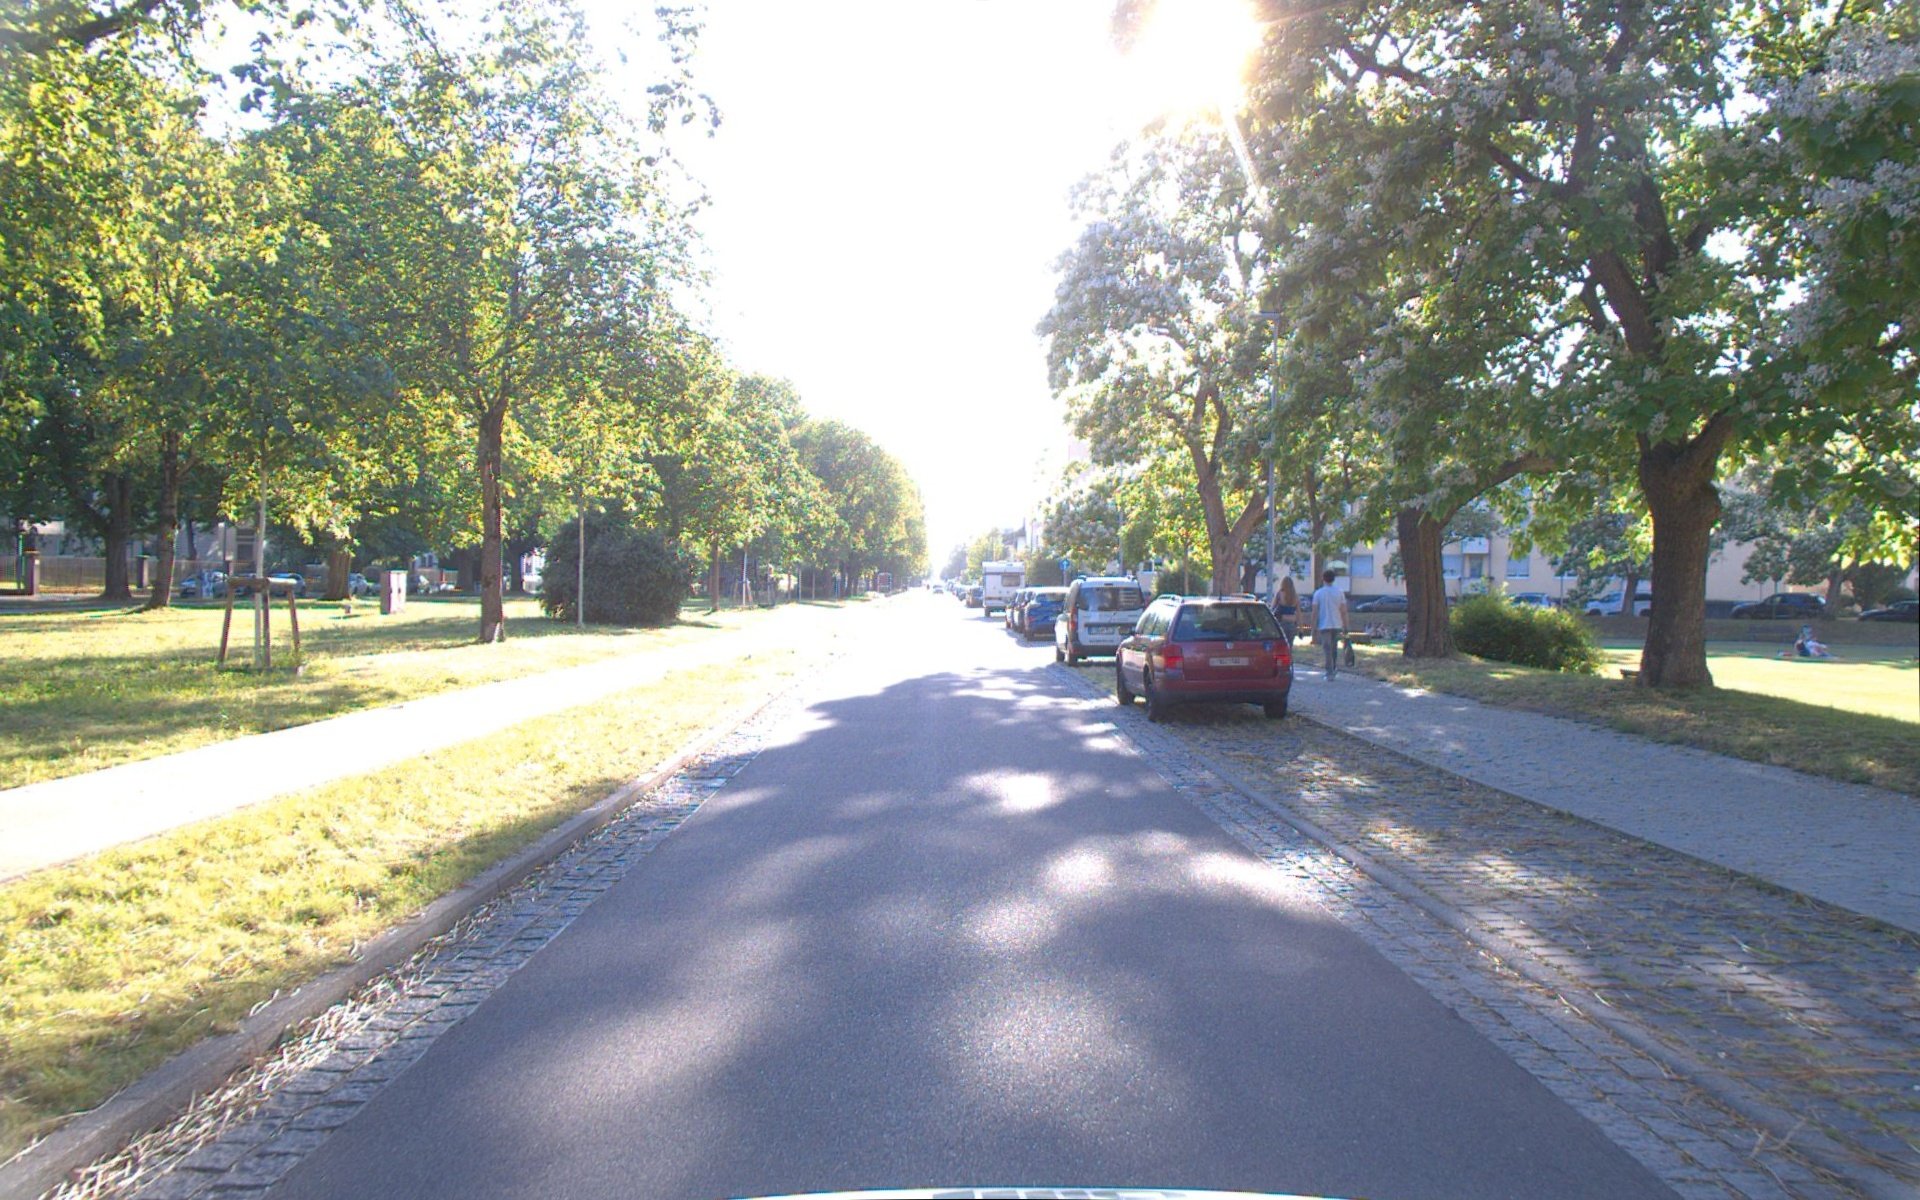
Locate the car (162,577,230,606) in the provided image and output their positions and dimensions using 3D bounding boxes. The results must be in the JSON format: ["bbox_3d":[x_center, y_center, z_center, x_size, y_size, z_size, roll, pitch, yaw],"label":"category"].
[{"bbox_3d":[-42.662,-0.461,92.454,1.953,1.534,4.000,0,0,0],"label":"car"}]

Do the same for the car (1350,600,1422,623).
[{"bbox_3d":[26.061,0.710,101.216,4.108,1.381,1.693,0,0,20],"label":"car"}]

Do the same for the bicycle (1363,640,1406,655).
[{"bbox_3d":[20.059,2.225,78.153,1.730,0.625,1.811,1,0,23],"label":"bicycle"}]

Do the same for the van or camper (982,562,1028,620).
[{"bbox_3d":[2.356,-0.428,88.190,2.189,2.955,5.671,0,-1,-1],"label":"van or camper"}]

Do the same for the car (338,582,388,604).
[{"bbox_3d":[-41.621,-0.478,115.380,1.953,1.534,4.115,0,0,0],"label":"car"}]

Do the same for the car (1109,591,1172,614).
[{"bbox_3d":[12.020,0.166,110.345,4.107,1.557,2.001,0,0,3],"label":"car"}]

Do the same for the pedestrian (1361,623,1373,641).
[{"bbox_3d":[19.746,1.562,80.242,0.463,0.827,0.612,2,0,0],"label":"pedestrian"}]

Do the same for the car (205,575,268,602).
[{"bbox_3d":[-42.568,-0.662,97.420,1.953,1.534,4.000,0,0,0],"label":"car"}]

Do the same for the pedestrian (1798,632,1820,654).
[{"bbox_3d":[32.299,1.629,62.920,0.662,0.808,0.578,1,0,-44],"label":"pedestrian"}]

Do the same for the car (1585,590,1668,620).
[{"bbox_3d":[40.546,0.282,100.621,4.433,1.776,1.874,0,0,34],"label":"car"}]

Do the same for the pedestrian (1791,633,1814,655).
[{"bbox_3d":[31.744,1.646,62.327,0.662,0.808,0.578,1,0,-44],"label":"pedestrian"}]

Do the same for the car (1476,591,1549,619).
[{"bbox_3d":[32.769,0.293,98.091,3.909,1.579,1.609,0,0,27],"label":"car"}]

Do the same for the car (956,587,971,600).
[{"bbox_3d":[0.416,-0.772,194.447,1.593,1.434,4.248,0,0,-1],"label":"car"}]

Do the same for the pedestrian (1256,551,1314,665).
[{"bbox_3d":[5.157,0.124,26.309,0.738,1.766,0.731,1,0,0],"label":"pedestrian"}]

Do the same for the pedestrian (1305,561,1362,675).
[{"bbox_3d":[5.939,0.275,26.335,0.710,1.766,0.731,1,0,0],"label":"pedestrian"}]

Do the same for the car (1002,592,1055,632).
[{"bbox_3d":[2.596,0.445,63.601,1.594,1.490,4.246,0,0,-4],"label":"car"}]

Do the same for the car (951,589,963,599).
[{"bbox_3d":[-0.409,-0.834,230.848,1.593,1.434,4.248,0,0,-1],"label":"car"}]

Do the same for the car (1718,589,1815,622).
[{"bbox_3d":[44.011,0.276,90.298,4.447,1.776,1.868,0,0,43],"label":"car"}]

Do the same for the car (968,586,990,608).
[{"bbox_3d":[1.452,-0.215,129.595,1.593,1.698,4.248,0,0,-1],"label":"car"}]

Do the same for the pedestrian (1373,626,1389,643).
[{"bbox_3d":[20.623,1.683,81.005,0.598,0.827,0.724,2,0,0],"label":"pedestrian"}]

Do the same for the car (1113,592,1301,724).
[{"bbox_3d":[3.078,0.678,21.539,1.644,1.512,4.808,0,0,-1],"label":"car"}]

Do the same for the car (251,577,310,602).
[{"bbox_3d":[-42.463,-0.619,103.409,1.953,1.534,4.115,0,0,0],"label":"car"}]

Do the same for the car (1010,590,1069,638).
[{"bbox_3d":[2.703,0.458,57.019,1.697,1.578,4.421,0,0,-2],"label":"car"}]

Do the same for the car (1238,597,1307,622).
[{"bbox_3d":[19.472,0.575,103.011,4.106,1.488,1.694,0,0,15],"label":"car"}]

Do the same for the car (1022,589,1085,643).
[{"bbox_3d":[2.821,0.468,50.769,1.696,1.578,4.275,0,0,0],"label":"car"}]

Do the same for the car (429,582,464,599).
[{"bbox_3d":[-43.386,-0.782,139.851,1.718,1.444,4.000,0,0,0],"label":"car"}]

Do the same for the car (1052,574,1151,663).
[{"bbox_3d":[2.966,0.372,35.351,1.644,1.770,4.513,0,0,-1],"label":"car"}]

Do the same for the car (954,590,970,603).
[{"bbox_3d":[0.205,-0.375,183.259,1.593,1.434,4.248,0,0,-1],"label":"car"}]

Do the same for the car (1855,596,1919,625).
[{"bbox_3d":[49.036,0.519,85.721,1.862,1.478,4.307,1,0,-38],"label":"car"}]

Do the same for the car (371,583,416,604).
[{"bbox_3d":[-42.609,-0.485,124.561,1.953,1.534,4.115,0,0,0],"label":"car"}]

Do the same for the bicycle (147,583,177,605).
[{"bbox_3d":[-44.112,-0.308,91.477,0.644,1.196,2.332,0,0,-3],"label":"bicycle"}]

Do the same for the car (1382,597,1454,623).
[{"bbox_3d":[29.485,0.623,106.525,4.416,1.597,1.881,0,0,18],"label":"car"}]
